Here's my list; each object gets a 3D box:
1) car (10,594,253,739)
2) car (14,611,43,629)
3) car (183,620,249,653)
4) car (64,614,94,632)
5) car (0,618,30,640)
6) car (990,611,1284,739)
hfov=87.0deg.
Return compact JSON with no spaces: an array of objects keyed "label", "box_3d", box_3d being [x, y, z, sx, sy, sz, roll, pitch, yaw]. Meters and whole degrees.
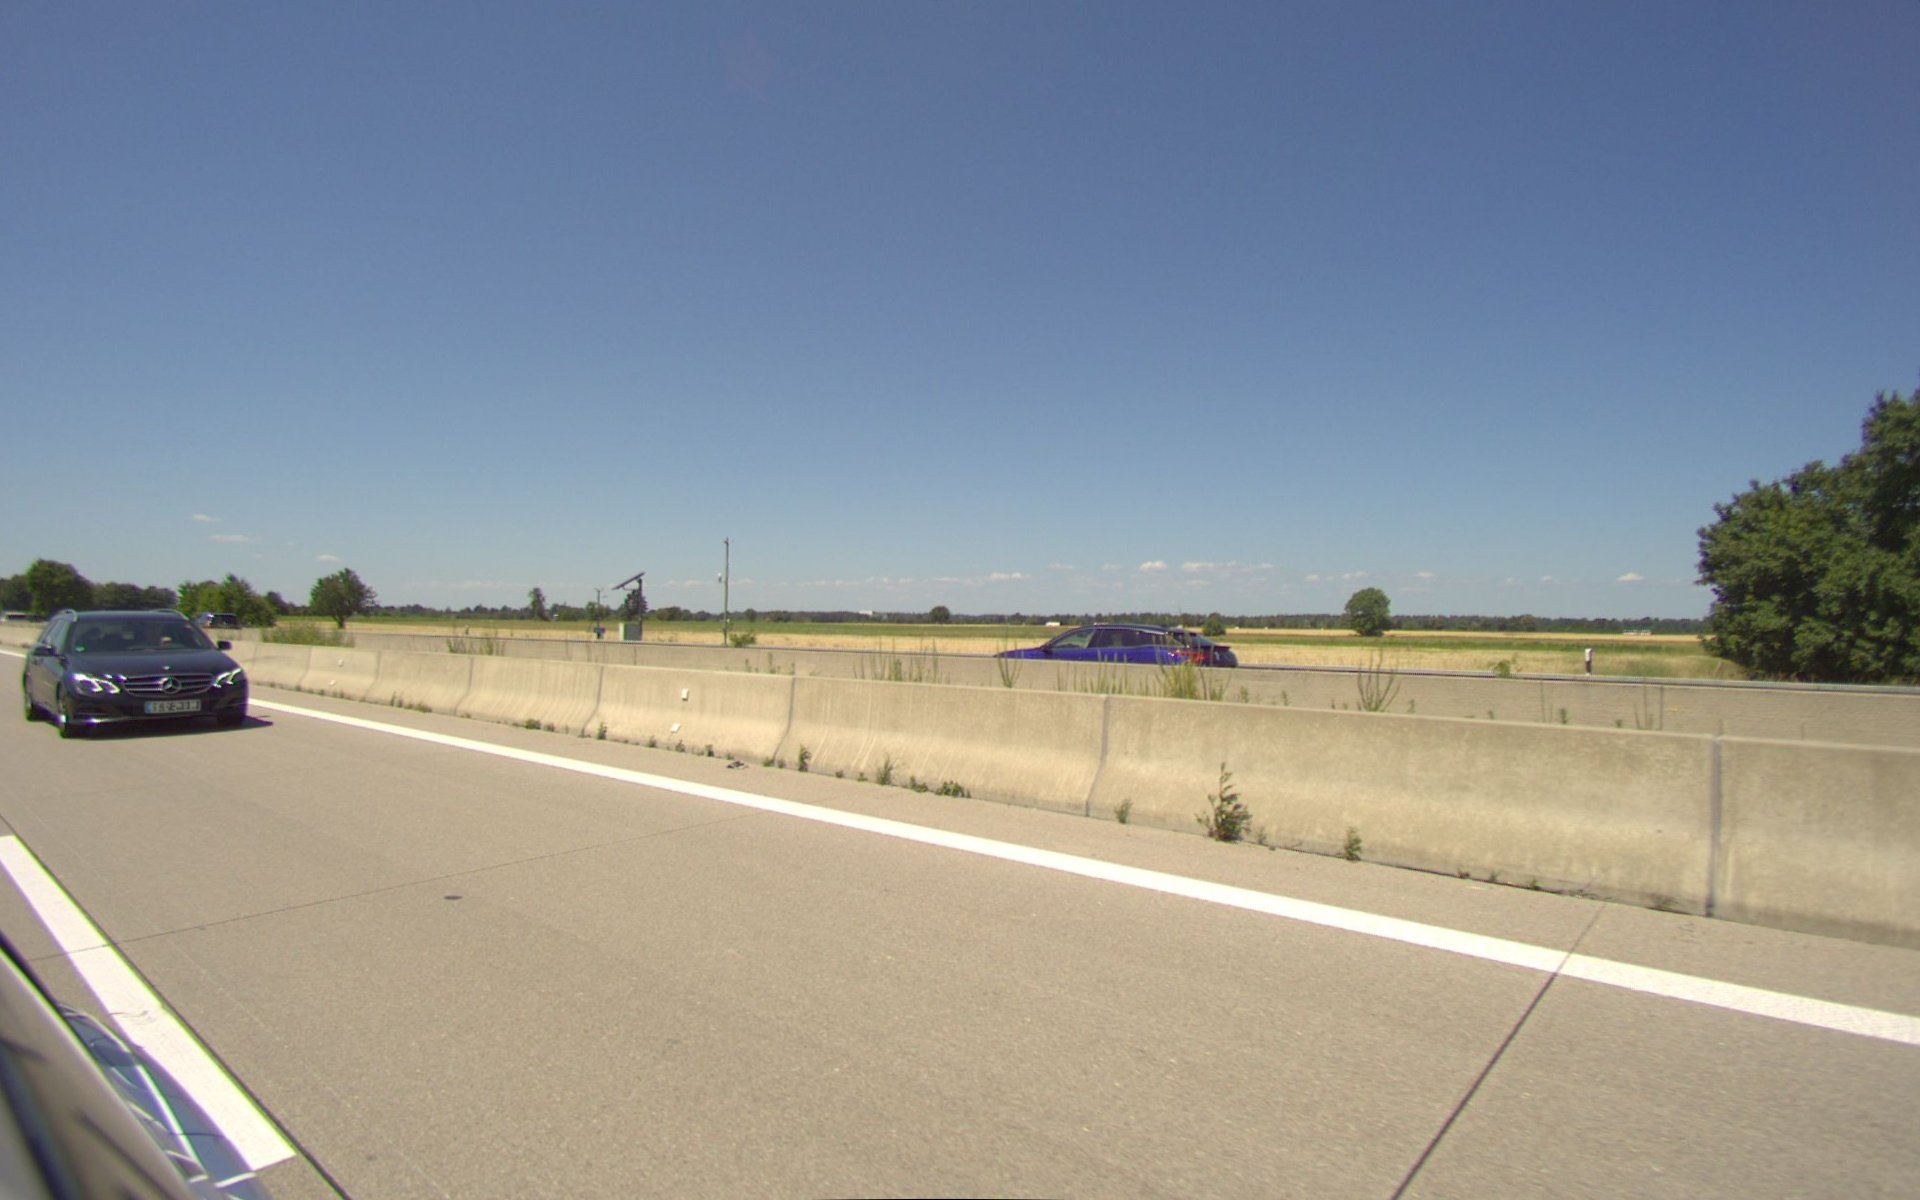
[{"label":"car","box_3d":[-10.843,0.760,13.157,3.938,1.597,1.824,-1,-1,41]},{"label":"car","box_3d":[-102.569,2.174,111.436,4.401,1.929,1.972,-1,-1,43]},{"label":"car","box_3d":[-44.160,2.132,60.010,4.810,1.852,1.974,-1,-1,39]},{"label":"car","box_3d":[-91.921,2.426,105.544,4.000,1.796,1.972,-1,-1,43]},{"label":"car","box_3d":[-83.806,2.535,89.567,4.000,1.874,1.885,-1,-1,43]},{"label":"car","box_3d":[2.946,1.170,17.551,4.690,1.896,1.973,-1,-1,42]}]
